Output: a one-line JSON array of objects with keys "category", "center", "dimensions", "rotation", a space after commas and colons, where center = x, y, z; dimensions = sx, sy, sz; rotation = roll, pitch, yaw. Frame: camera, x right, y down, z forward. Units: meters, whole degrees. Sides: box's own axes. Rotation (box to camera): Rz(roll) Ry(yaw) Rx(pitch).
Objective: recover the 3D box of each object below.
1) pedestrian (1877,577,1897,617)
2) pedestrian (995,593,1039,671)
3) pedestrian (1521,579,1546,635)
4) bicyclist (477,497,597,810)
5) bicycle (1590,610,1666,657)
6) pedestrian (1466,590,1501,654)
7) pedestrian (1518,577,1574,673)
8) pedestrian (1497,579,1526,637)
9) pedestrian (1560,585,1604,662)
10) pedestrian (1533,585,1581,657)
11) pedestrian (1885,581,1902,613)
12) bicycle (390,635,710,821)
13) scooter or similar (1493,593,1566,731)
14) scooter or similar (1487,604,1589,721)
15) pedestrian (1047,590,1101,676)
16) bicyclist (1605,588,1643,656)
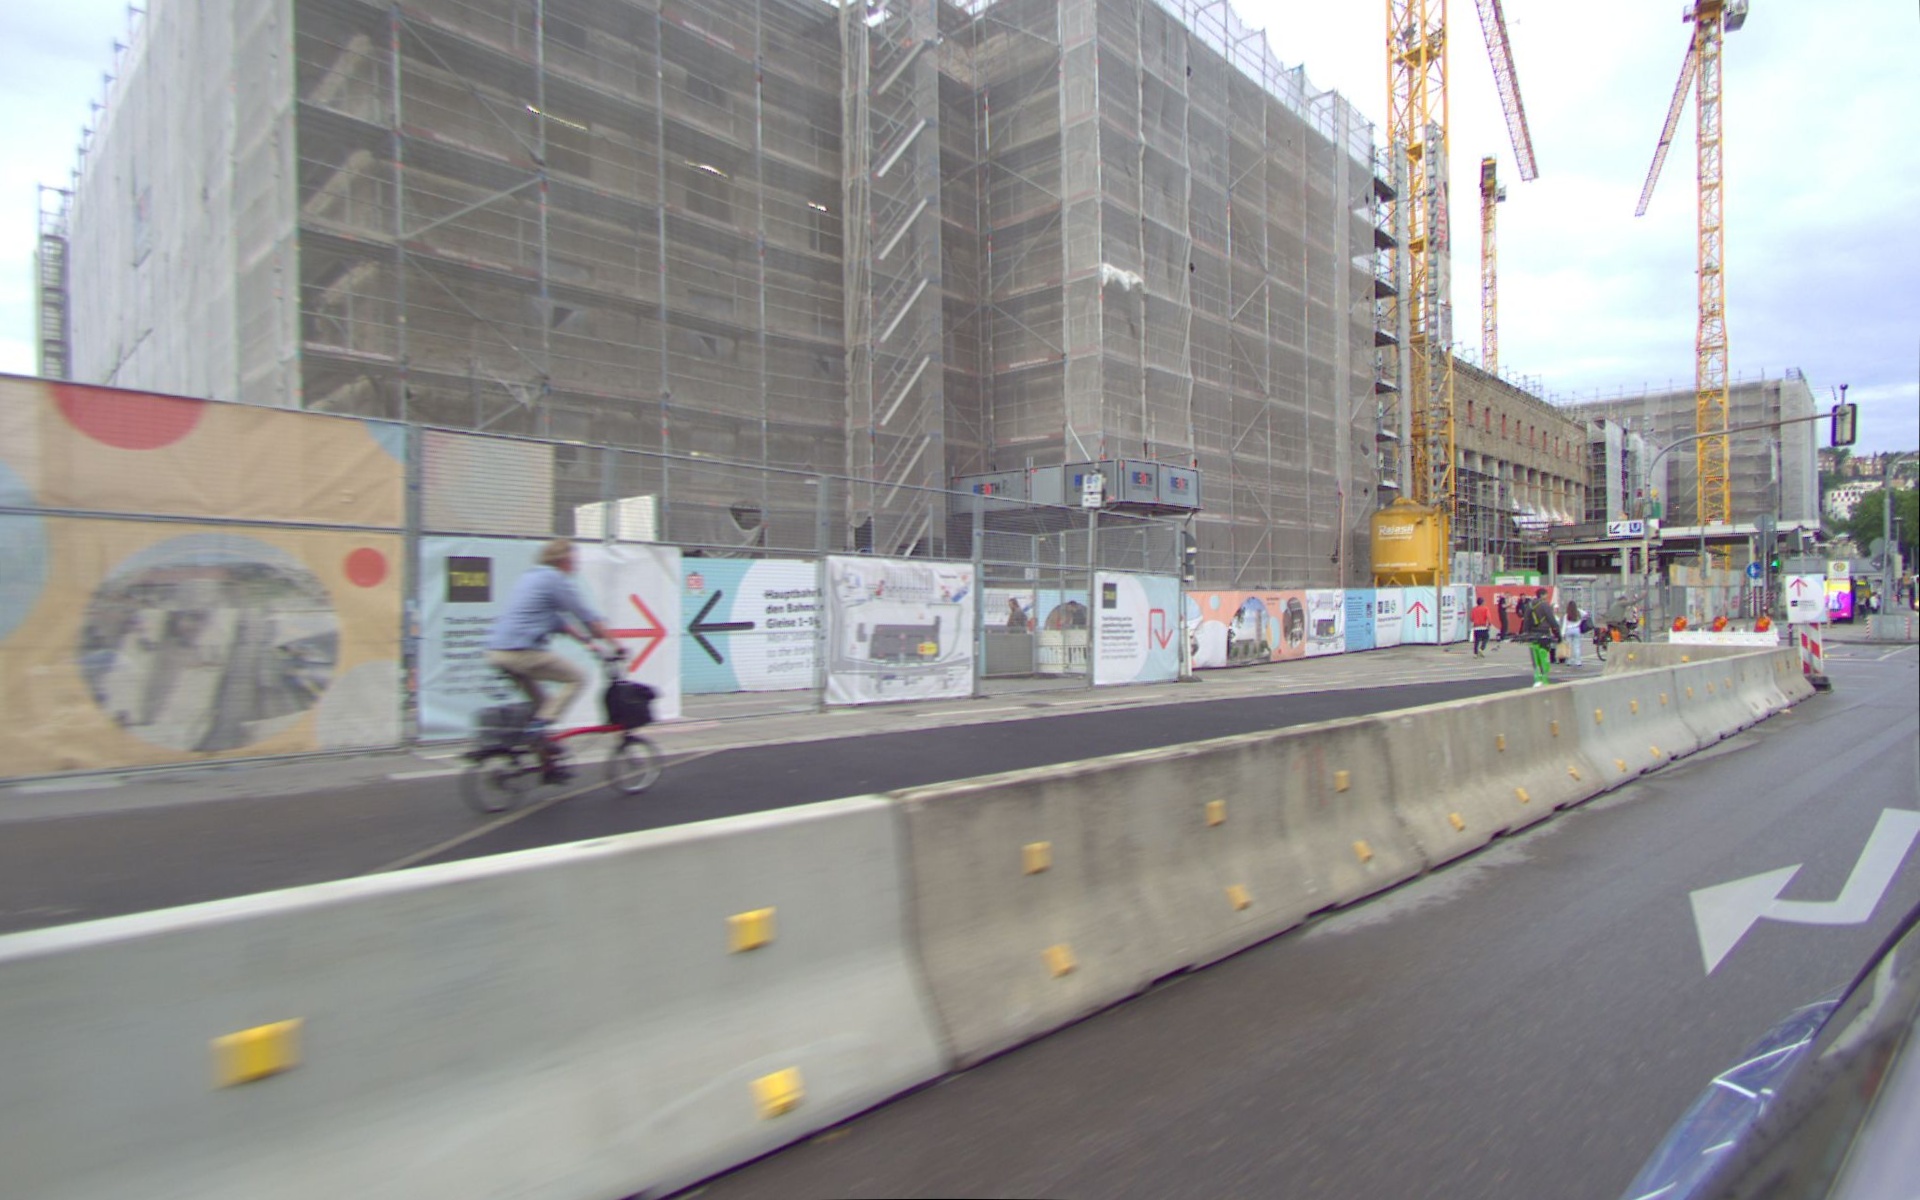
[{"category": "pedestrian", "center": [48.401, -0.171, 52.869], "dimensions": [0.731, 2.039, 0.637], "rotation": [0, 0, 39]}, {"category": "pedestrian", "center": [1.322, 0.717, 23.544], "dimensions": [0.813, 1.778, 0.639], "rotation": [0, 0, 44]}, {"category": "pedestrian", "center": [20.821, 0.253, 36.748], "dimensions": [0.618, 2.039, 0.576], "rotation": [0, 0, 13]}, {"category": "bicyclist", "center": [-2.955, 0.345, 7.060], "dimensions": [0.588, 2.039, 0.728], "rotation": [0, 0, -40]}, {"category": "bicycle", "center": [17.355, 0.851, 26.273], "dimensions": [1.951, 1.148, 0.757], "rotation": [0, 0, -26]}, {"category": "pedestrian", "center": [14.584, 0.591, 28.186], "dimensions": [0.740, 1.749, 0.704], "rotation": [0, 0, 40]}, {"category": "pedestrian", "center": [12.888, 0.528, 22.260], "dimensions": [0.849, 2.037, 0.789], "rotation": [0, 0, -35]}, {"category": "pedestrian", "center": [19.582, 0.293, 35.948], "dimensions": [0.615, 2.039, 0.642], "rotation": [0, 0, -20]}, {"category": "pedestrian", "center": [15.189, 0.550, 24.727], "dimensions": [0.798, 1.776, 0.808], "rotation": [2, 4, 28]}, {"category": "pedestrian", "center": [15.076, 0.520, 25.570], "dimensions": [0.866, 1.778, 0.815], "rotation": [0, 0, -40]}, {"category": "pedestrian", "center": [53.414, -0.169, 57.915], "dimensions": [0.722, 1.846, 0.645], "rotation": [0, 0, -41]}, {"category": "bicycle", "center": [-2.858, 0.826, 7.192], "dimensions": [1.946, 1.126, 0.767], "rotation": [2, -1, -40]}, {"category": "scooter or similar", "center": [5.938, 0.606, 10.533], "dimensions": [0.523, 1.350, 1.011], "rotation": [0, 0, 38]}, {"category": "scooter or similar", "center": [6.910, 0.724, 12.106], "dimensions": [1.003, 1.350, 0.494], "rotation": [0, 0, -17]}, {"category": "pedestrian", "center": [2.563, 0.718, 22.741], "dimensions": [0.999, 1.872, 0.666], "rotation": [0, 0, 42]}, {"category": "bicyclist", "center": [17.190, 0.547, 26.193], "dimensions": [0.425, 1.726, 0.698], "rotation": [0, 0, -26]}]
